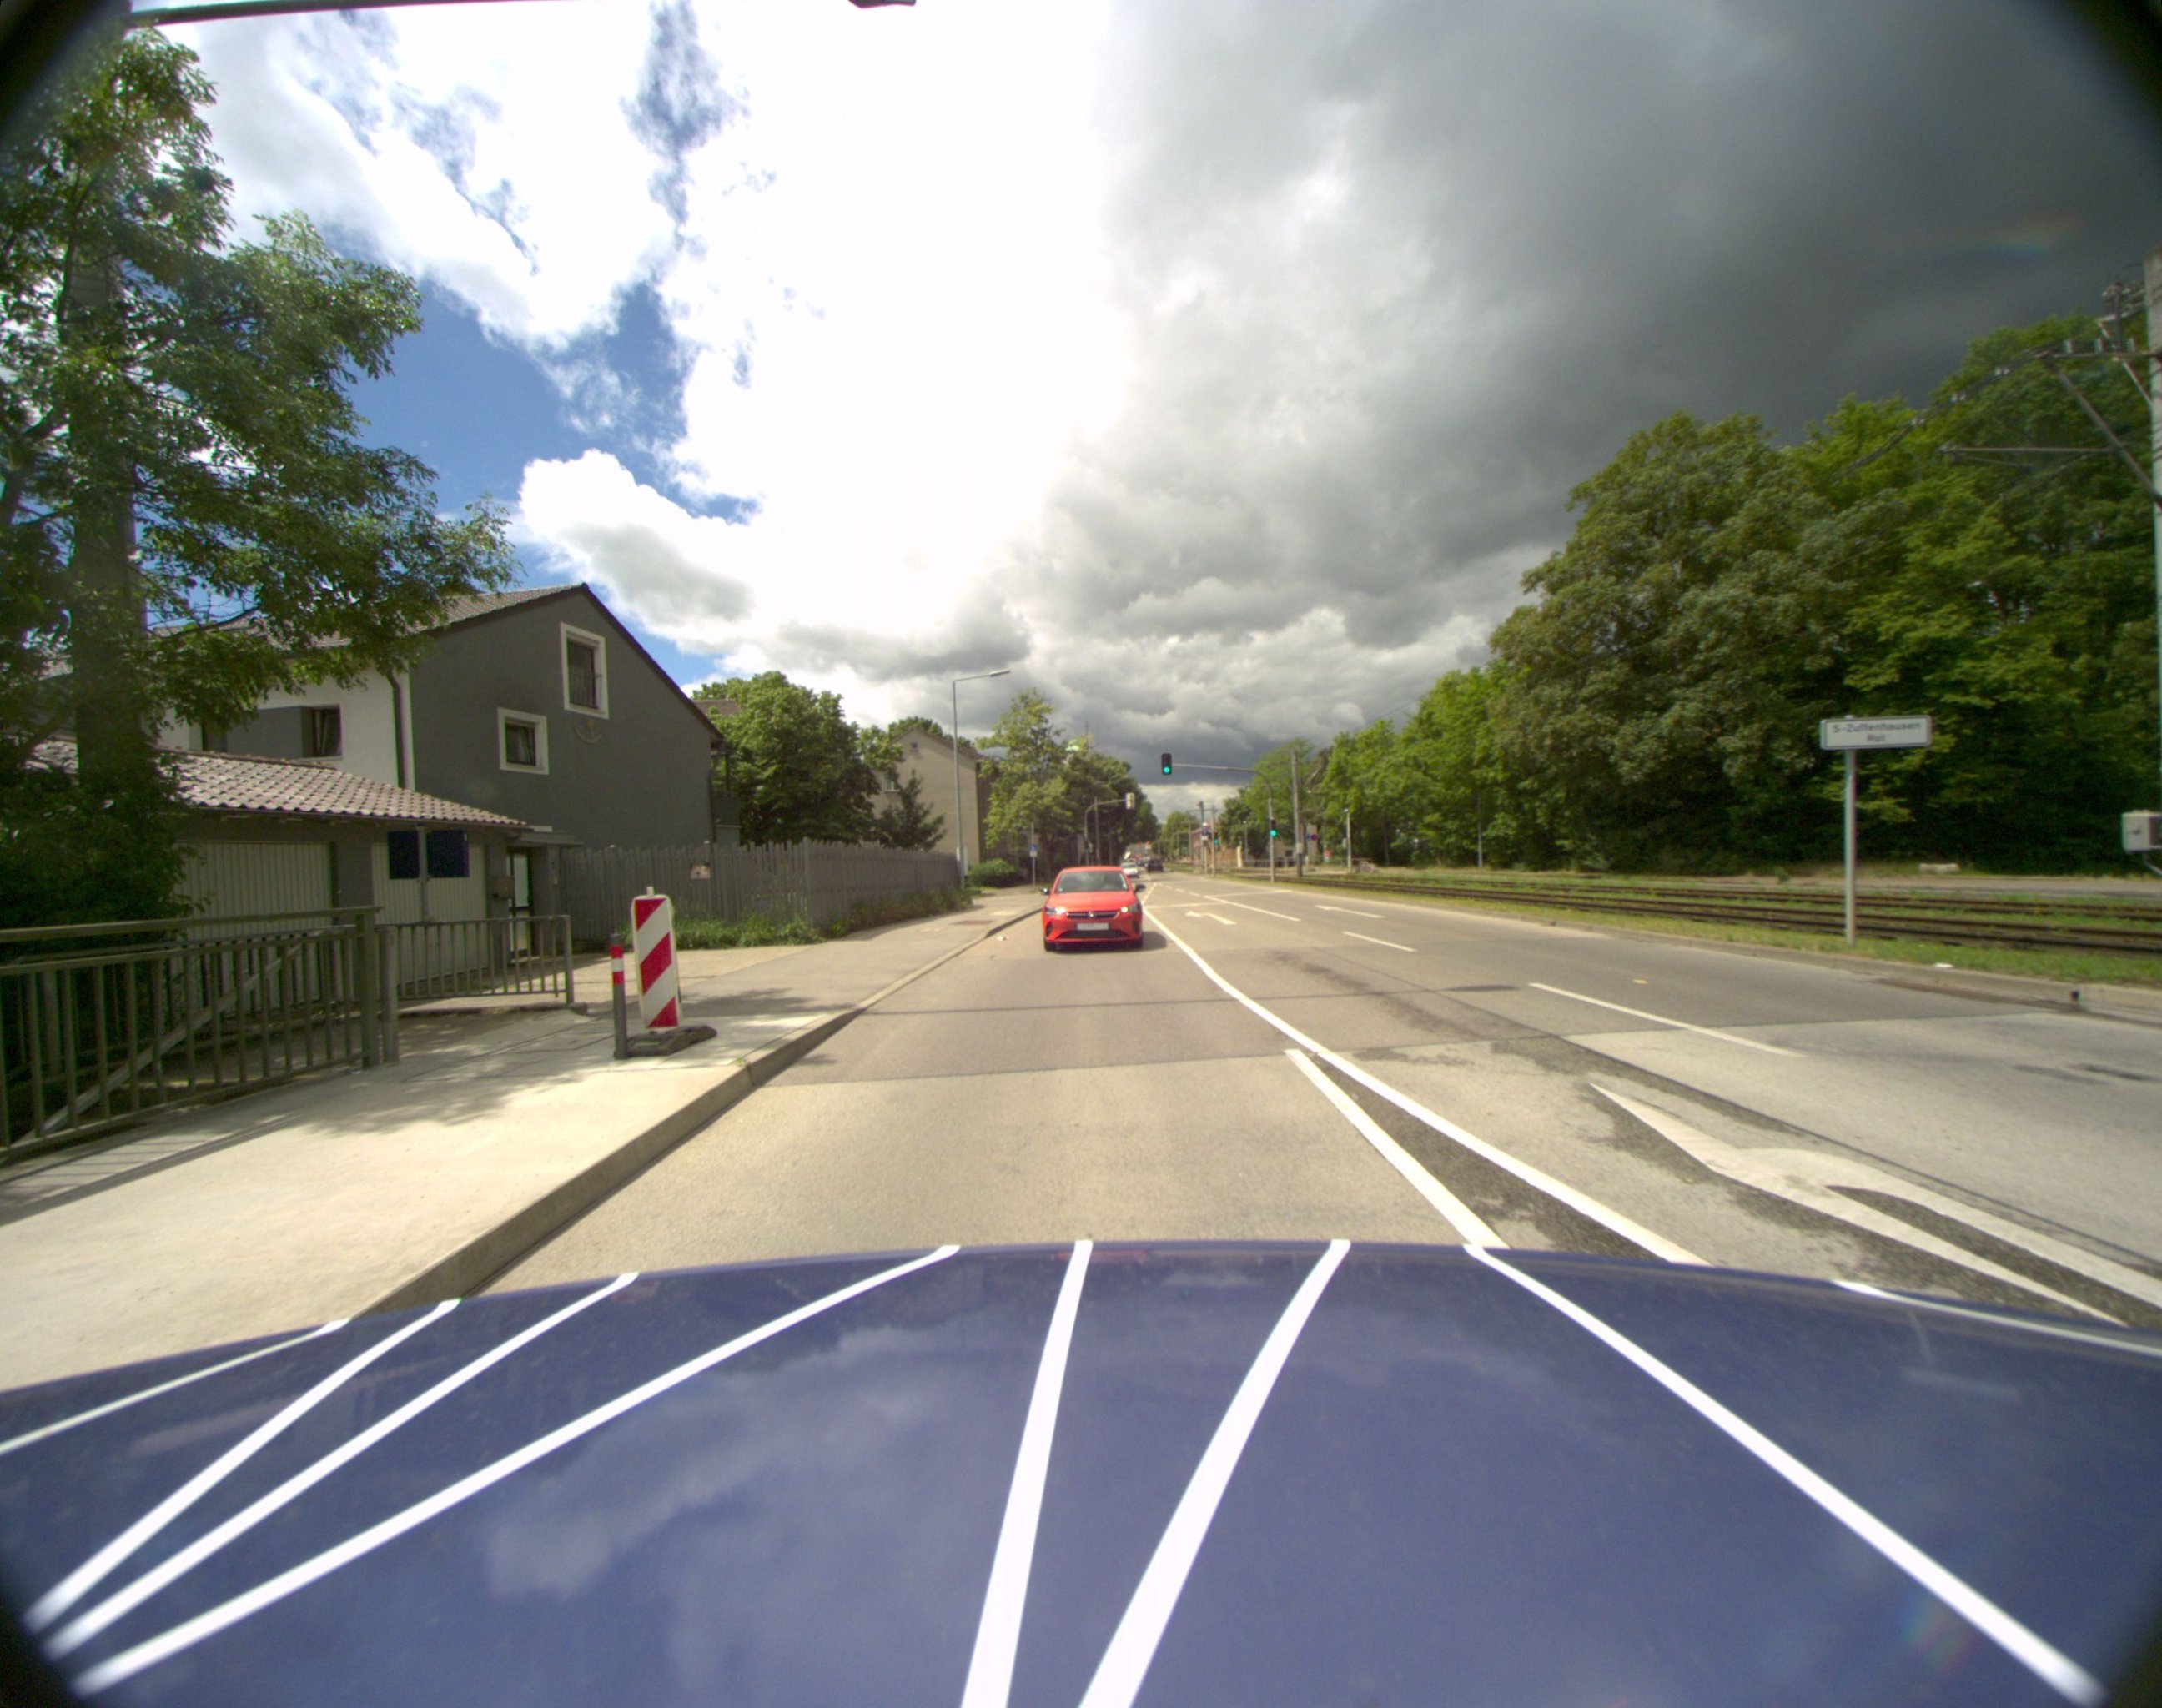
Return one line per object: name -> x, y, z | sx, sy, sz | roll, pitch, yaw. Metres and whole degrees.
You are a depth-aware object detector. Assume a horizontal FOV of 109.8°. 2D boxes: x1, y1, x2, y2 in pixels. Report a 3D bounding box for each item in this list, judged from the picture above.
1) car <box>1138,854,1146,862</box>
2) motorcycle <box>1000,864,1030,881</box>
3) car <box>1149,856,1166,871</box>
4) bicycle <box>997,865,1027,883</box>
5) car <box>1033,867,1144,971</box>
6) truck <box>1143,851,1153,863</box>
car -> 13.364, 0.873, 165.595 | 1.585, 1.476, 3.808 | -4, -1, 6
motorcycle -> -5.293, 1.506, 60.780 | 2.208, 1.275, 0.681 | -2, 1, 12
car -> 9.367, 1.103, 93.433 | 1.711, 1.666, 4.229 | -4, 0, 3
bicycle -> -5.464, 1.568, 60.028 | 2.170, 1.275, 0.681 | -2, 1, 12
car -> 0.244, 1.000, 13.265 | 1.665, 1.512, 3.787 | 0, 0, 4
truck -> 17.020, 0.750, 192.329 | 2.096, 2.723, 5.098 | -4, 0, 2
